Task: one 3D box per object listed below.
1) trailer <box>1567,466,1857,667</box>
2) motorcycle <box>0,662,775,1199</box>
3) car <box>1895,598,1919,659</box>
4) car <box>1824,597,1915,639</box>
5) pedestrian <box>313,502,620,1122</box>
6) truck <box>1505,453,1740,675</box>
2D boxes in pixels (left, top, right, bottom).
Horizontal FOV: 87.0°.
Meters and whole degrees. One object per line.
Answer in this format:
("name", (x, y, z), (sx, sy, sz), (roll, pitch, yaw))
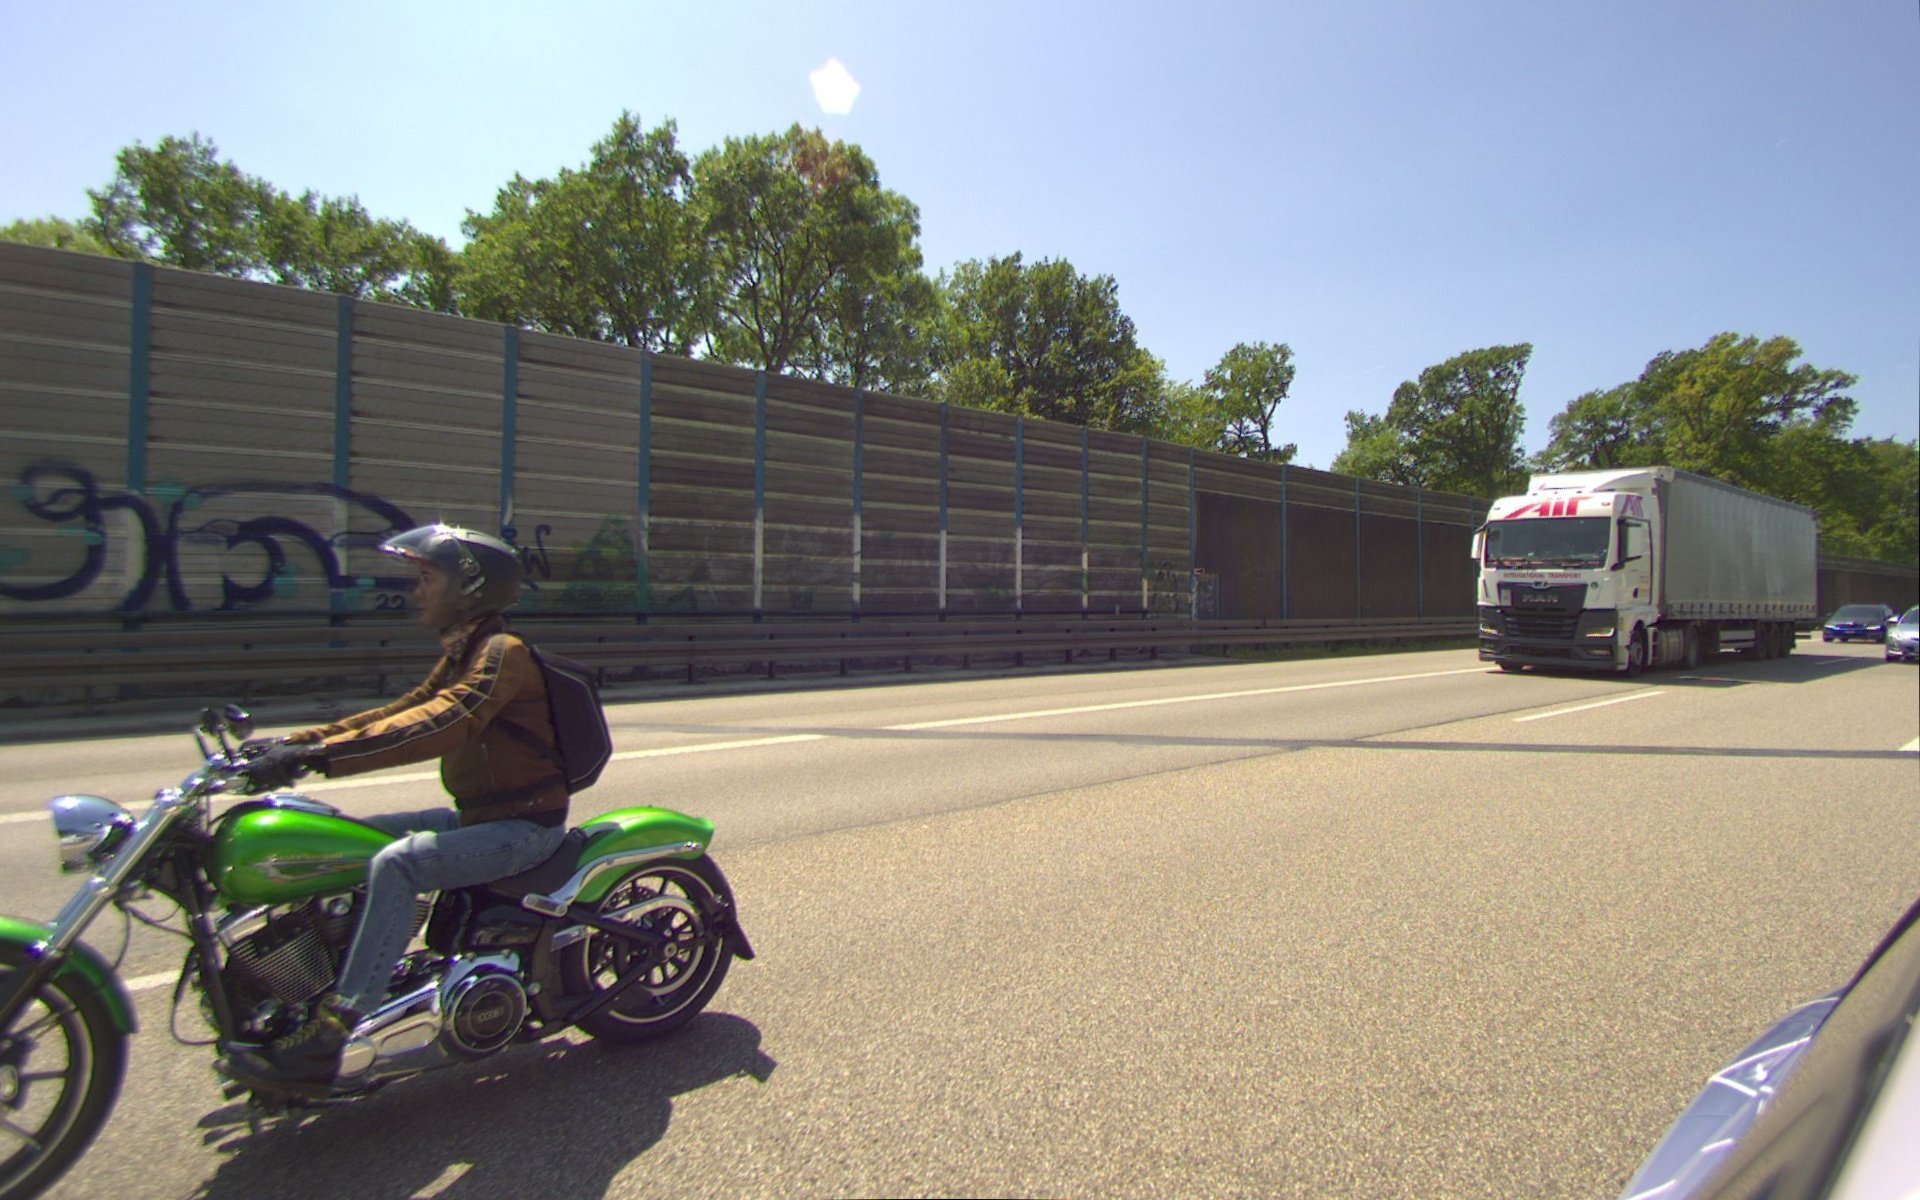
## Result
("trailer", (19.800, -0.718, 26.057), (13.344, 4.142, 2.605), (0, 1, -38))
("motorcycle", (-1.718, 0.825, 2.770), (2.235, 1.197, 0.861), (1, 0, -39))
("car", (24.837, 0.714, 25.046), (4.099, 1.452, 1.861), (1, 0, -38))
("car", (34.673, 0.657, 38.555), (4.099, 1.512, 1.861), (1, 0, -38))
("pedestrian", (-1.473, 0.509, 2.979), (0.626, 1.497, 0.853), (1, -1, -38))
("truck", (14.249, -0.697, 21.648), (5.451, 4.142, 2.605), (0, 1, -38))
